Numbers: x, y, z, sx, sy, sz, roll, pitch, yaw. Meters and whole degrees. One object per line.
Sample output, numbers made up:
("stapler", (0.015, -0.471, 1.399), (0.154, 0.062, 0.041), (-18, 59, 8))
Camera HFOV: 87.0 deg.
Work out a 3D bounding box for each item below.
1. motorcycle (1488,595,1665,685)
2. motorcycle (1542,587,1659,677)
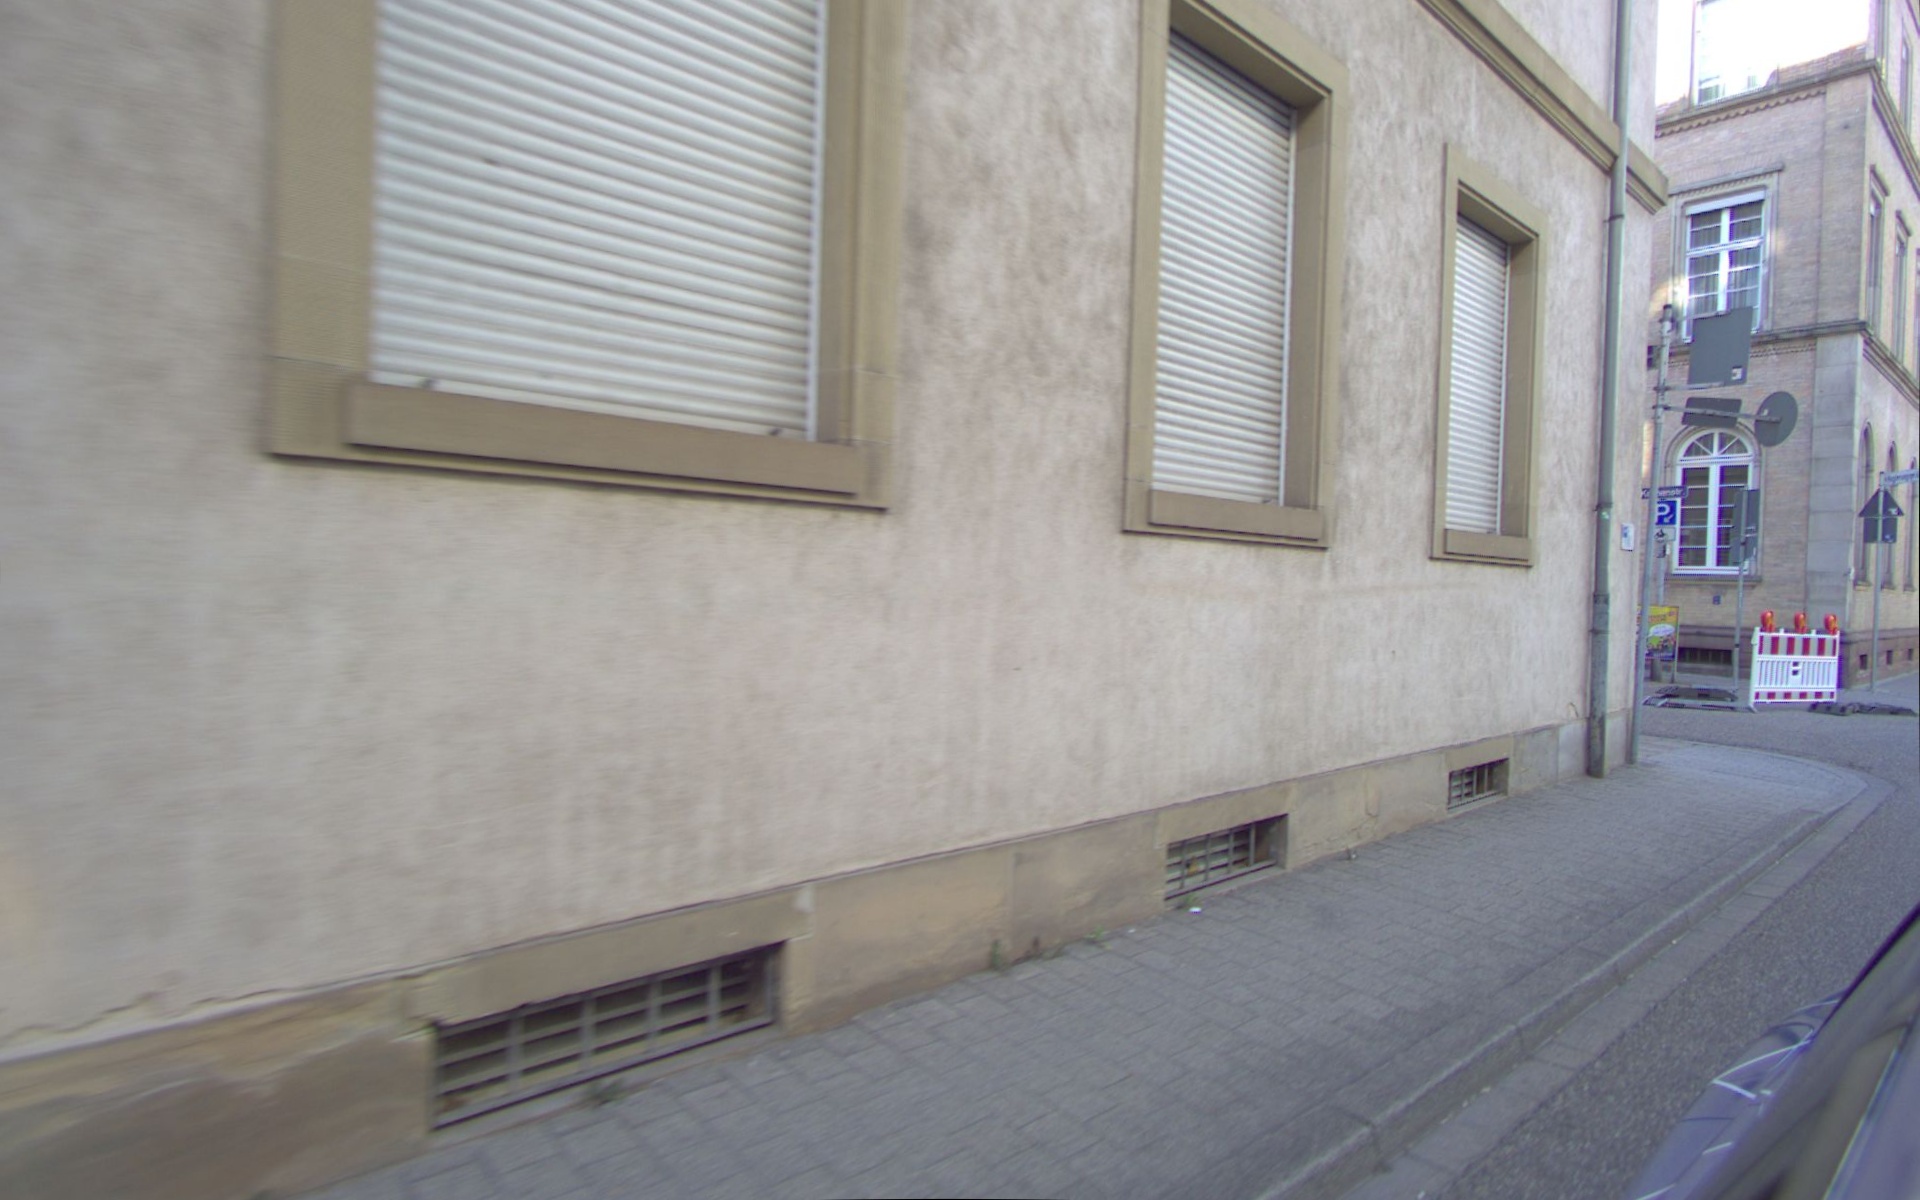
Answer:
("motorcycle", (9.457, 0.595, 15.600), (2.111, 1.239, 0.875), (1, 3, 4))
("motorcycle", (10.778, 0.498, 17.128), (0.694, 1.349, 2.079), (1, 2, 3))
